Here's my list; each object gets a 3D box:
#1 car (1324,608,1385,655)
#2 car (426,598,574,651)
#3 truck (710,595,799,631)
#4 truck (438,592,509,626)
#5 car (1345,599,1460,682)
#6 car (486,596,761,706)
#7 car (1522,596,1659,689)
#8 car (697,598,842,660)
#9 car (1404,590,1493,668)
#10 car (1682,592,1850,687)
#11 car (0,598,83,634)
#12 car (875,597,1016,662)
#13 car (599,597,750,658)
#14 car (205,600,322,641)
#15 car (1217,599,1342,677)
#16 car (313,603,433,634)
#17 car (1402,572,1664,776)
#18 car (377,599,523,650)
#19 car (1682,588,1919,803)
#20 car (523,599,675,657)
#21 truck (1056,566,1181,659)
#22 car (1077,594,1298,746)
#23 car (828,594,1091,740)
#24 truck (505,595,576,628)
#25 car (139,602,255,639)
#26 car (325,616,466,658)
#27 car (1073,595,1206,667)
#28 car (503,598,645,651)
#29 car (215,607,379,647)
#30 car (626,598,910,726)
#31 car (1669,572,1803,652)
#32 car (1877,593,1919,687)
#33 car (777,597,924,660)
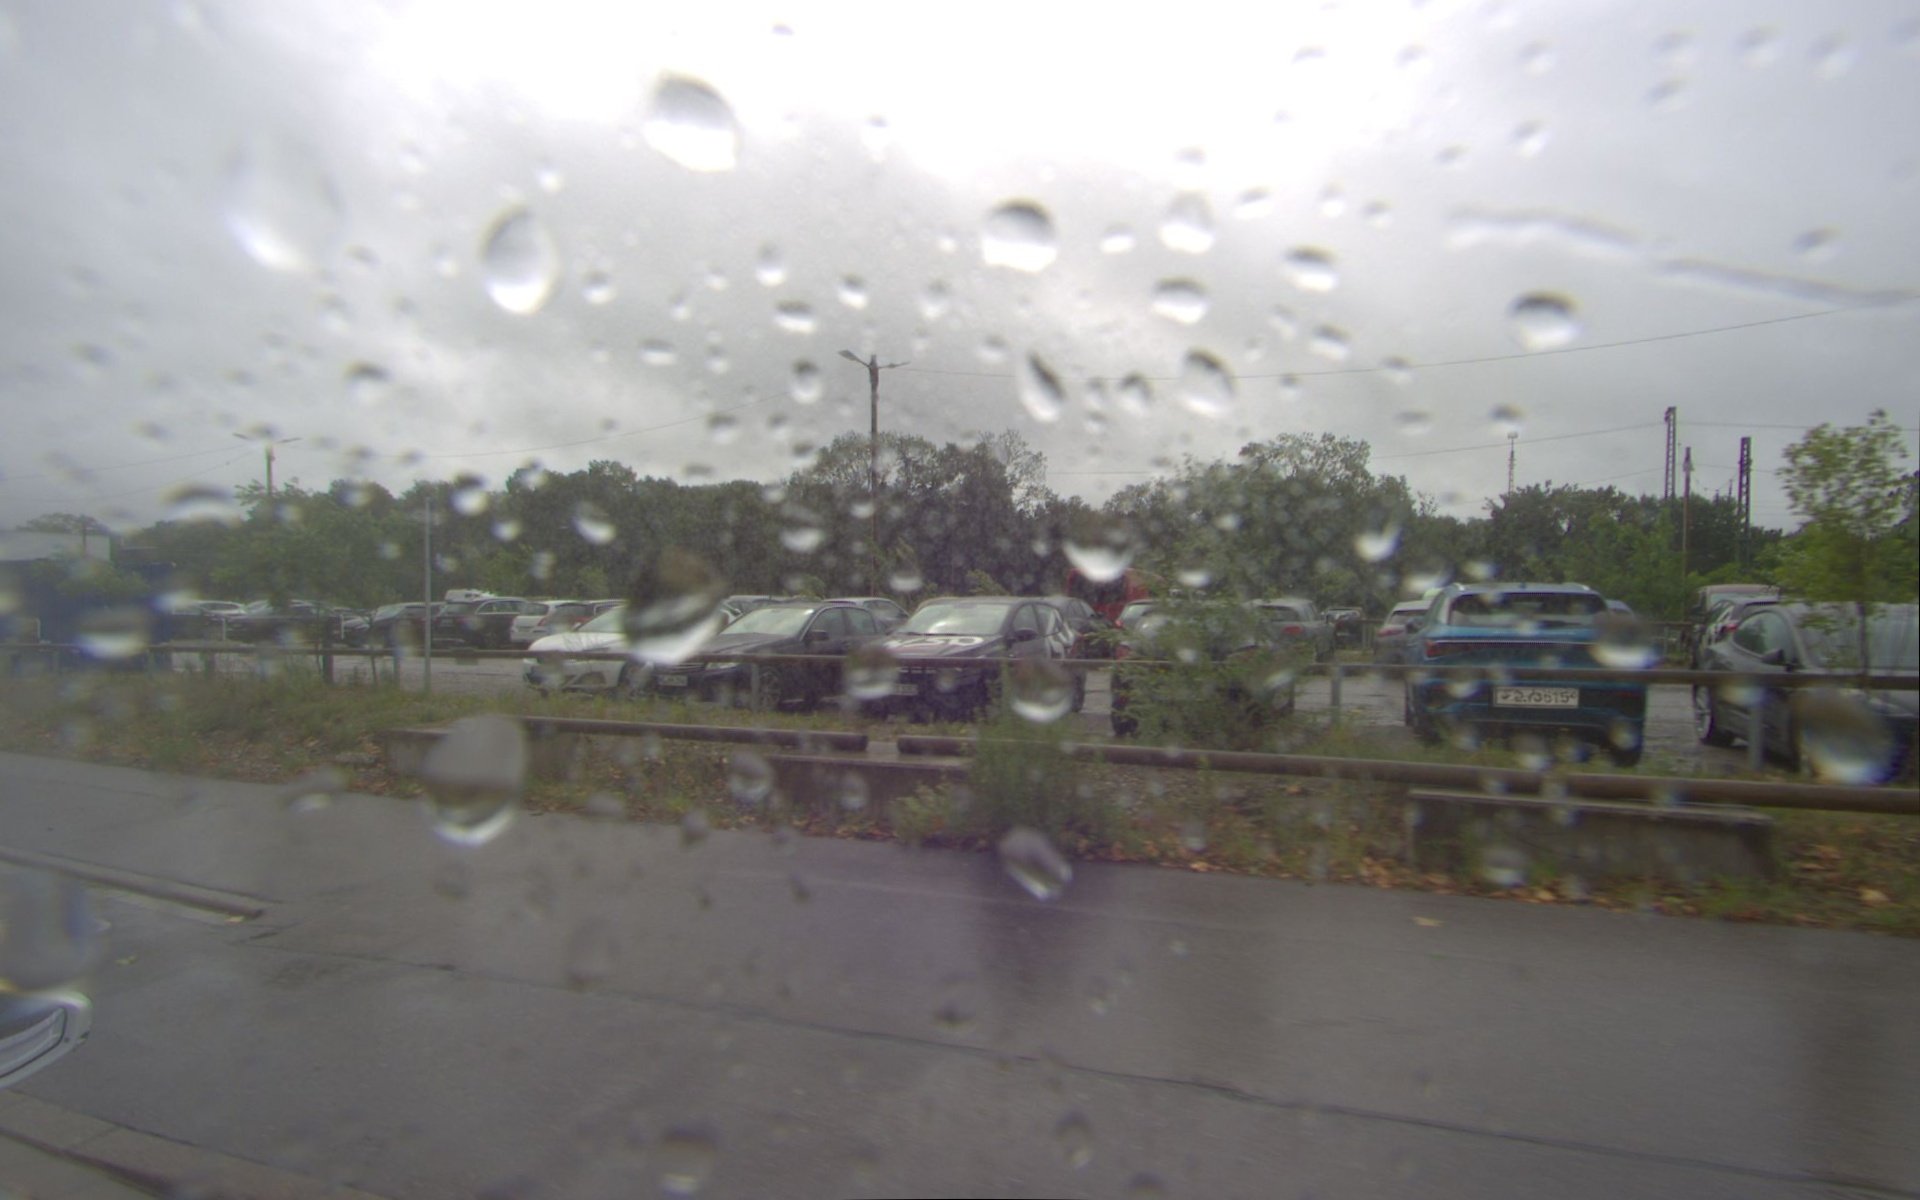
[{"bbox_3d":[14.241,1.115,36.052,1.665,1.606,4.161,0,-1,27],"label":"car"},{"bbox_3d":[-14.460,0.743,31.695,1.841,1.510,3.947,-1,0,28],"label":"car"},{"bbox_3d":[-12.482,0.745,60.751,5.196,2.041,2.079,1,1,28],"label":"truck"},{"bbox_3d":[-35.748,0.661,73.551,5.002,2.434,2.071,0,1,26],"label":"truck"},{"bbox_3d":[8.954,0.741,20.093,1.793,1.446,3.947,-1,0,28],"label":"car"},{"bbox_3d":[-4.867,0.722,15.009,1.874,1.411,3.773,-1,-2,24],"label":"car"},{"bbox_3d":[11.732,0.719,18.875,1.896,1.510,4.061,-1,0,28],"label":"car"},{"bbox_3d":[-5.063,0.732,27.115,1.751,1.510,3.947,-1,0,28],"label":"car"},{"bbox_3d":[12.545,0.714,25.589,1.770,1.823,3.982,0,-1,30],"label":"car"},{"bbox_3d":[14.552,0.638,18.302,1.681,1.499,3.947,-1,0,28],"label":"car"},{"bbox_3d":[-43.434,0.741,46.343,1.899,1.504,3.823,-1,1,29],"label":"car"},{"bbox_3d":[-0.271,0.683,25.134,1.858,1.446,3.947,-1,0,28],"label":"car"},{"bbox_3d":[-7.822,0.722,27.802,1.751,1.510,3.947,-1,0,28],"label":"car"},{"bbox_3d":[-32.090,0.905,46.261,1.802,1.681,4.059,-1,1,24],"label":"car"},{"bbox_3d":[6.926,0.750,21.451,1.858,1.446,3.947,-1,0,28],"label":"car"},{"bbox_3d":[-24.532,0.744,42.006,1.802,1.086,4.059,-1,1,24],"label":"car"},{"bbox_3d":[5.498,0.652,10.100,1.866,1.615,3.898,-1,-2,24],"label":"car"},{"bbox_3d":[-16.741,0.774,33.063,1.841,1.510,3.947,-1,0,28],"label":"car"},{"bbox_3d":[7.722,0.684,8.386,1.832,1.438,4.162,-1,-2,23],"label":"car"},{"bbox_3d":[-10.336,0.773,28.935,1.751,1.510,3.947,-1,0,28],"label":"car"},{"bbox_3d":[4.676,0.317,28.767,2.118,2.399,5.287,0,0,26],"label":"truck"},{"bbox_3d":[2.750,0.715,11.421,1.750,1.412,3.898,-1,-2,24],"label":"car"},{"bbox_3d":[0.178,0.731,12.073,1.750,1.441,3.898,-1,-2,24],"label":"car"},{"bbox_3d":[-29.531,0.779,70.402,5.009,2.167,2.068,0,1,32],"label":"truck"},{"bbox_3d":[-37.147,0.975,48.840,1.897,1.627,4.056,-1,1,27],"label":"car"},{"bbox_3d":[-19.182,1.234,34.169,1.624,1.237,3.880,-1,0,31],"label":"car"},{"bbox_3d":[4.194,0.649,22.915,1.858,1.446,3.947,-1,0,28],"label":"car"},{"bbox_3d":[-12.051,0.724,31.497,1.751,1.510,3.947,-1,0,28],"label":"car"},{"bbox_3d":[-23.881,0.951,36.271,1.946,1.237,4.586,-1,0,25],"label":"car"},{"bbox_3d":[-2.377,0.769,13.437,1.874,1.441,3.898,-1,-2,24],"label":"car"},{"bbox_3d":[17.696,0.283,23.016,1.737,1.661,3.985,0,-1,27],"label":"car"},{"bbox_3d":[16.929,0.663,16.482,1.779,1.557,3.947,-1,0,28],"label":"car"},{"bbox_3d":[-2.731,0.686,25.895,1.858,1.446,3.947,-1,0,28],"label":"car"}]
